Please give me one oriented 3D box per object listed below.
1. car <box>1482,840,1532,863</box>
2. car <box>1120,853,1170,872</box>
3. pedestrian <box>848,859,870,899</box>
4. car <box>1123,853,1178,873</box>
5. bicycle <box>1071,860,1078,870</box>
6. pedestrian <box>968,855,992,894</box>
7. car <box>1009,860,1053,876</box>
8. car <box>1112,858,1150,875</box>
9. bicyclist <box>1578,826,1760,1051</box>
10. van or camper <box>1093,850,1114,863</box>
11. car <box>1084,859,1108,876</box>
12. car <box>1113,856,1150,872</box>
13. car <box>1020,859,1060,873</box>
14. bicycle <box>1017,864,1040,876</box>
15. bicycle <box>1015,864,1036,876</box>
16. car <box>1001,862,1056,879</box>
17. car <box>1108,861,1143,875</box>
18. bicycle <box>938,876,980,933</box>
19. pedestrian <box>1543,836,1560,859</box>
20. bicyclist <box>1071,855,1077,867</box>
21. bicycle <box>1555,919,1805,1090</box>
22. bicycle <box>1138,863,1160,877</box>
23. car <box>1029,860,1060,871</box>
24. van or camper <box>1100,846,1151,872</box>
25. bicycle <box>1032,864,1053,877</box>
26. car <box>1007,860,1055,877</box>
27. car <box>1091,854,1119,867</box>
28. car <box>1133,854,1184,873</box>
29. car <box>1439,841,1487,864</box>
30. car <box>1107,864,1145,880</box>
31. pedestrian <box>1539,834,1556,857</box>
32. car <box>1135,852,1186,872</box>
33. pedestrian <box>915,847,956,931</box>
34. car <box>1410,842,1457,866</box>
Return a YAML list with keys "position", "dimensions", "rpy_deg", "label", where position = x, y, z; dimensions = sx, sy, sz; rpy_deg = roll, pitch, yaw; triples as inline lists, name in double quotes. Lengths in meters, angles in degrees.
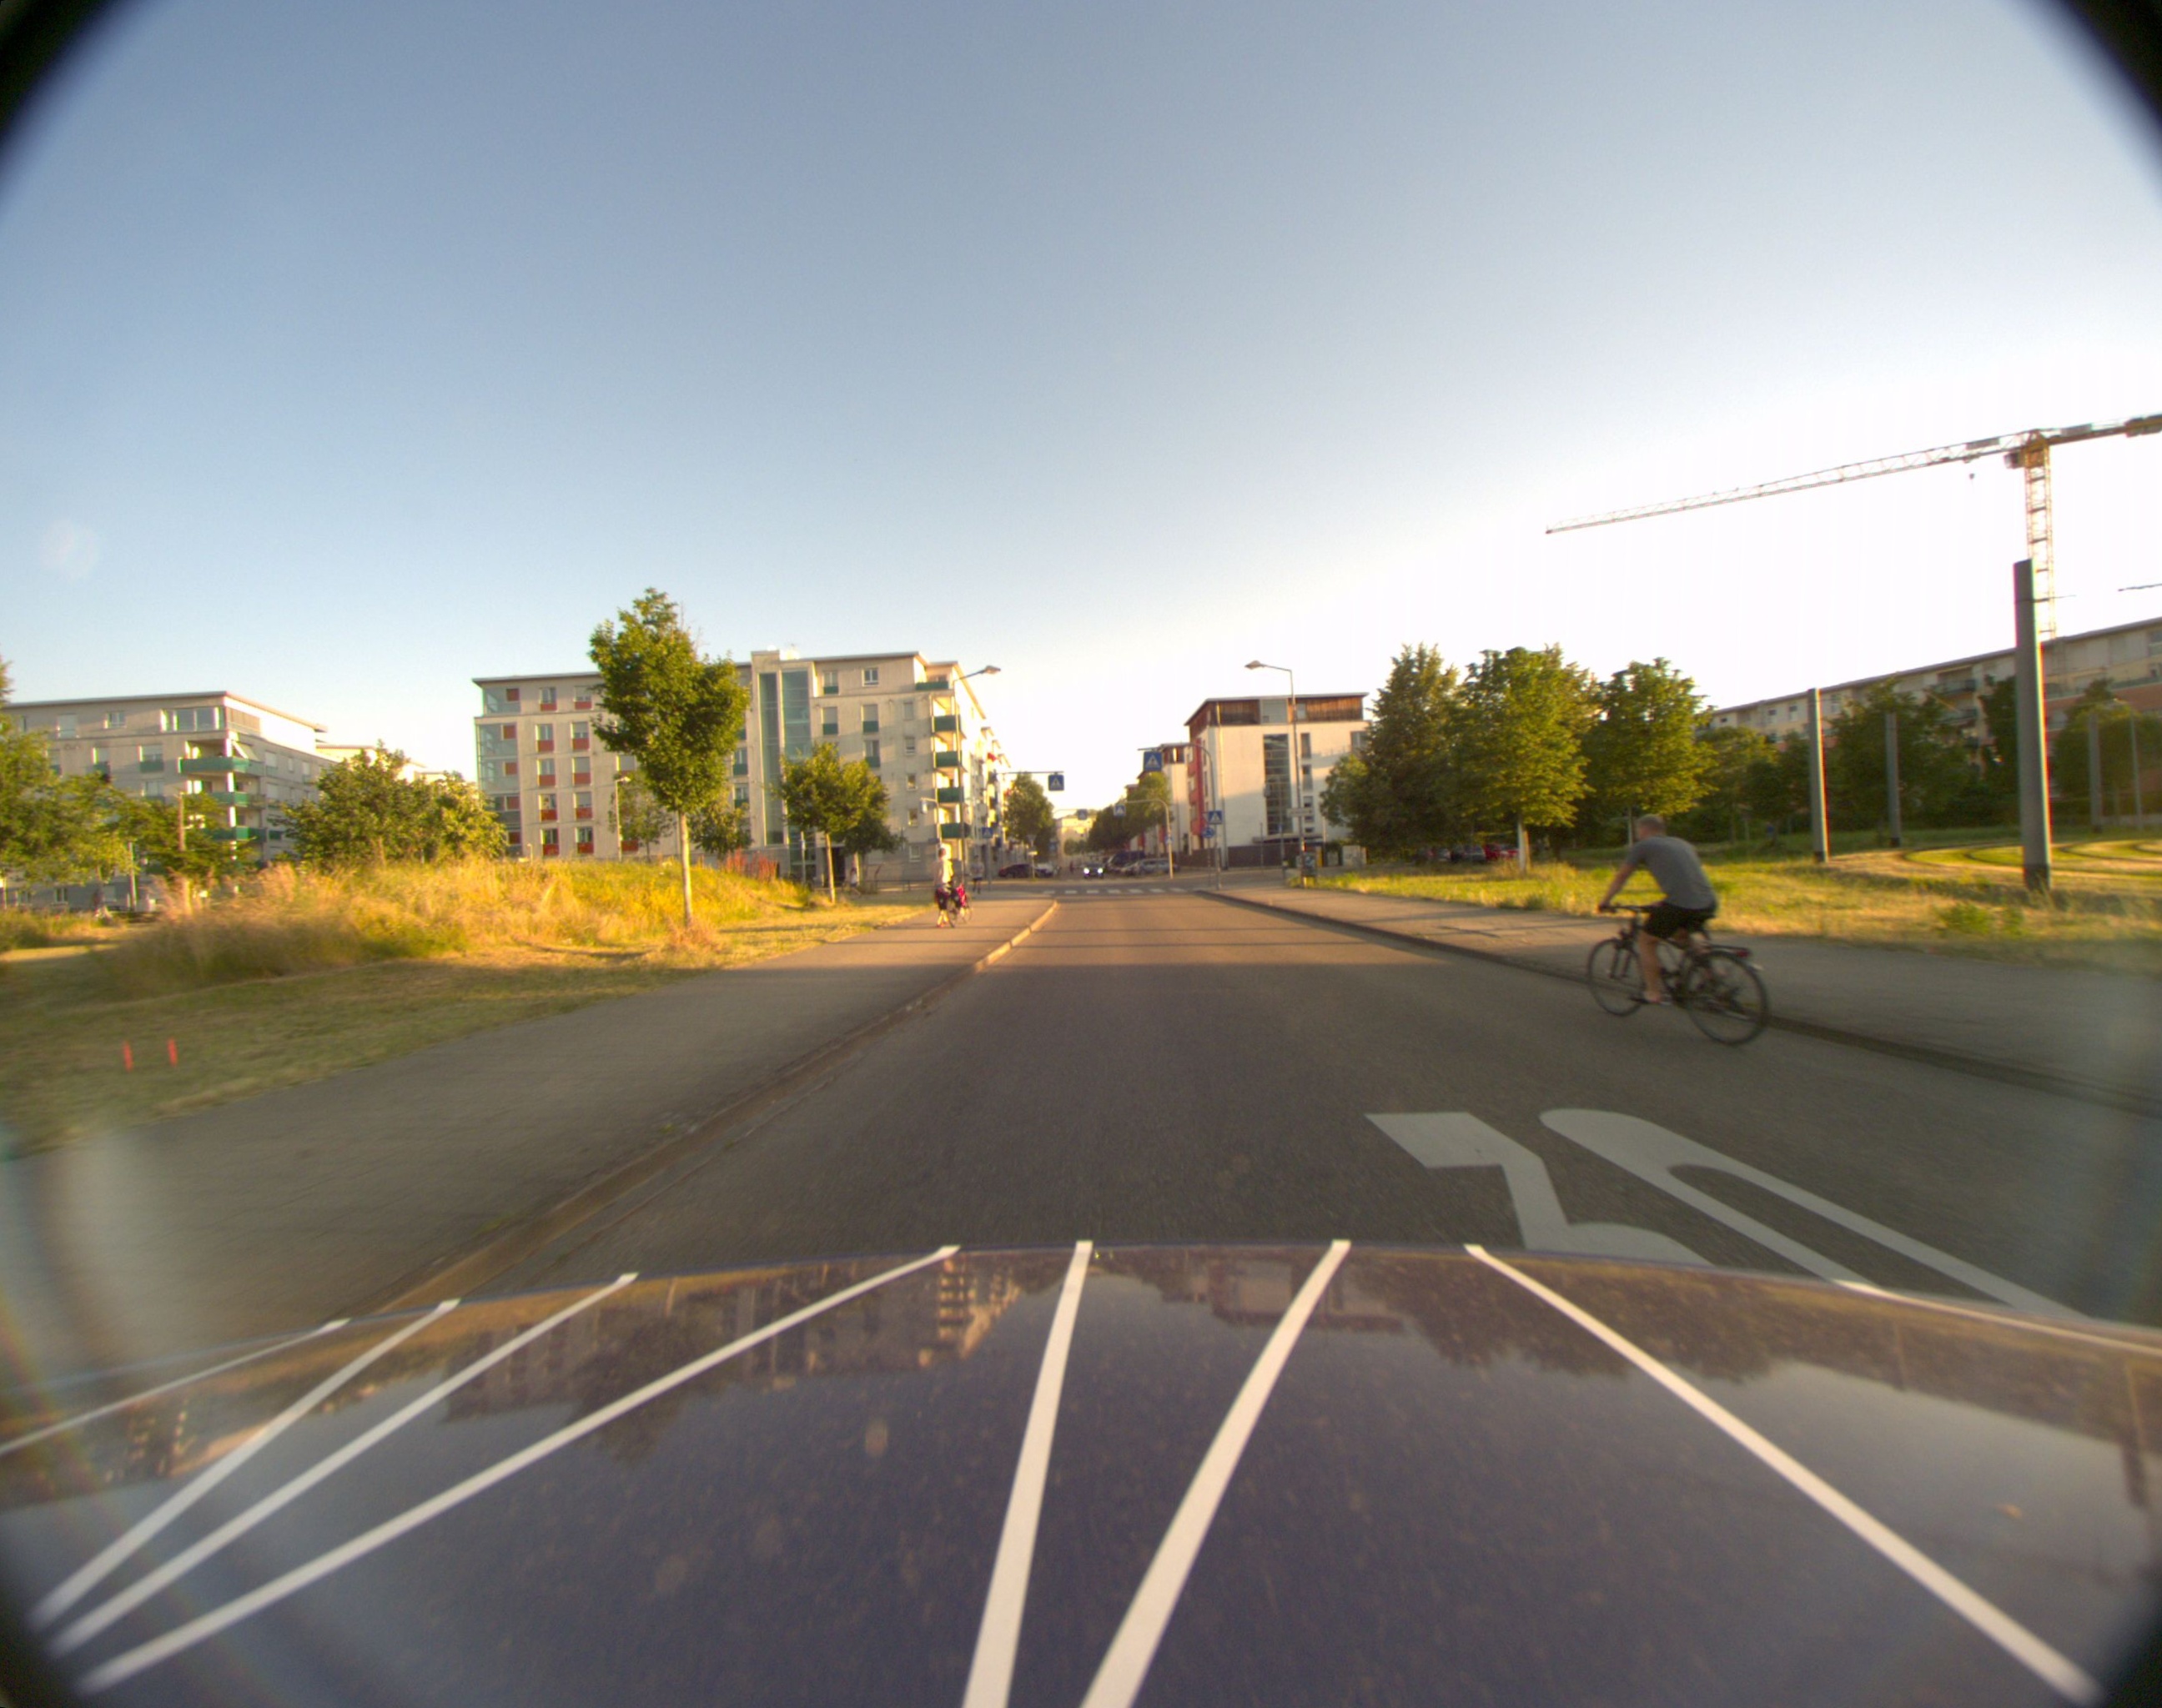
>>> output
- position: [29.737, -0.171, 53.158]
  dimensions: [1.593, 1.491, 3.410]
  rpy_deg: [-3, 0, 1]
  label: "car"
- position: [6.495, 0.874, 77.342]
  dimensions: [4.760, 1.575, 1.758]
  rpy_deg: [-5, -1, -5]
  label: "car"
- position: [-10.251, 1.144, 35.115]
  dimensions: [0.734, 1.773, 0.802]
  rpy_deg: [-3, -1, 0]
  label: "pedestrian"
- position: [6.601, 0.851, 72.179]
  dimensions: [4.916, 1.469, 1.710]
  rpy_deg: [-5, -1, -3]
  label: "car"
- position: [-0.891, 1.509, 101.491]
  dimensions: [0.771, 1.259, 1.781]
  rpy_deg: [-3, -1, -2]
  label: "bicycle"
- position: [-4.536, 0.923, 34.196]
  dimensions: [0.801, 1.719, 0.768]
  rpy_deg: [-3, -1, 6]
  label: "pedestrian"
- position: [-4.917, 1.360, 74.778]
  dimensions: [4.294, 1.485, 1.742]
  rpy_deg: [0, -1, -2]
  label: "car"
- position: [5.577, 1.374, 84.795]
  dimensions: [3.920, 1.700, 1.723]
  rpy_deg: [-3, 0, -5]
  label: "car"
- position: [4.733, 0.640, 6.196]
  dimensions: [0.616, 1.652, 1.036]
  rpy_deg: [-3, -1, 2]
  label: "bicyclist"
- position: [4.509, 0.576, 152.310]
  dimensions: [4.251, 2.520, 1.761]
  rpy_deg: [0, 0, 0]
  label: "van or camper"
- position: [1.315, 1.229, 68.622]
  dimensions: [1.777, 1.454, 4.177]
  rpy_deg: [0, -1, -3]
  label: "car"
- position: [5.774, 1.142, 87.048]
  dimensions: [3.920, 1.506, 1.723]
  rpy_deg: [-3, 0, -5]
  label: "car"
- position: [-4.428, 1.335, 82.181]
  dimensions: [4.295, 1.499, 1.685]
  rpy_deg: [0, -1, -4]
  label: "car"
- position: [-4.625, 1.425, 67.285]
  dimensions: [2.035, 1.040, 0.473]
  rpy_deg: [0, -1, -5]
  label: "bicycle"
- position: [-4.834, 1.415, 66.102]
  dimensions: [1.793, 1.035, 0.567]
  rpy_deg: [0, -1, -5]
  label: "bicycle"
- position: [-4.732, 1.504, 69.140]
  dimensions: [4.887, 1.449, 1.938]
  rpy_deg: [0, -1, 1]
  label: "car"
- position: [5.555, 1.738, 94.946]
  dimensions: [4.103, 1.616, 1.723]
  rpy_deg: [0, -1, -5]
  label: "car"
- position: [-2.697, 1.092, 16.931]
  dimensions: [0.451, 1.161, 1.942]
  rpy_deg: [-3, -1, 3]
  label: "bicycle"
- position: [34.338, -0.479, 55.482]
  dimensions: [0.743, 1.657, 0.624]
  rpy_deg: [-4, 1, 1]
  label: "pedestrian"
- position: [-0.917, 0.967, 101.449]
  dimensions: [0.767, 1.617, 0.663]
  rpy_deg: [-3, -1, -3]
  label: "bicyclist"
- position: [4.765, 1.129, 6.246]
  dimensions: [0.540, 1.036, 1.925]
  rpy_deg: [-3, -1, 2]
  label: "bicycle"
- position: [5.972, 1.408, 66.944]
  dimensions: [1.821, 1.060, 0.567]
  rpy_deg: [-6, 0, -4]
  label: "bicycle"
- position: [-5.078, 1.577, 106.365]
  dimensions: [4.251, 1.527, 1.693]
  rpy_deg: [0, -1, 0]
  label: "car"
- position: [5.842, 0.636, 100.155]
  dimensions: [6.316, 3.069, 2.441]
  rpy_deg: [-3, 0, -5]
  label: "van or camper"
- position: [-3.396, 1.449, 66.870]
  dimensions: [1.840, 1.065, 0.473]
  rpy_deg: [0, -1, -5]
  label: "bicycle"
- position: [-4.735, 1.376, 72.034]
  dimensions: [4.412, 1.499, 1.743]
  rpy_deg: [0, -1, 2]
  label: "car"
- position: [3.665, 1.048, 115.776]
  dimensions: [4.252, 1.919, 1.692]
  rpy_deg: [0, -1, -2]
  label: "car"
- position: [7.079, 0.875, 69.614]
  dimensions: [4.292, 1.449, 1.680]
  rpy_deg: [-3, -1, -3]
  label: "car"
- position: [26.882, -0.129, 53.563]
  dimensions: [1.593, 1.491, 3.410]
  rpy_deg: [-3, 0, 1]
  label: "car"
- position: [5.298, 2.082, 89.695]
  dimensions: [4.103, 1.616, 1.723]
  rpy_deg: [-3, 0, -5]
  label: "car"
- position: [34.523, -0.617, 56.239]
  dimensions: [0.713, 1.590, 0.656]
  rpy_deg: [-5, 1, -7]
  label: "pedestrian"
- position: [7.779, 0.803, 74.790]
  dimensions: [4.784, 1.546, 1.711]
  rpy_deg: [-5, 0, 2]
  label: "car"
- position: [-3.226, 0.774, 16.895]
  dimensions: [0.596, 1.791, 0.818]
  rpy_deg: [-3, -1, 5]
  label: "pedestrian"
- position: [24.879, 0.001, 53.715]
  dimensions: [1.689, 1.513, 3.410]
  rpy_deg: [-3, 0, 1]
  label: "car"
